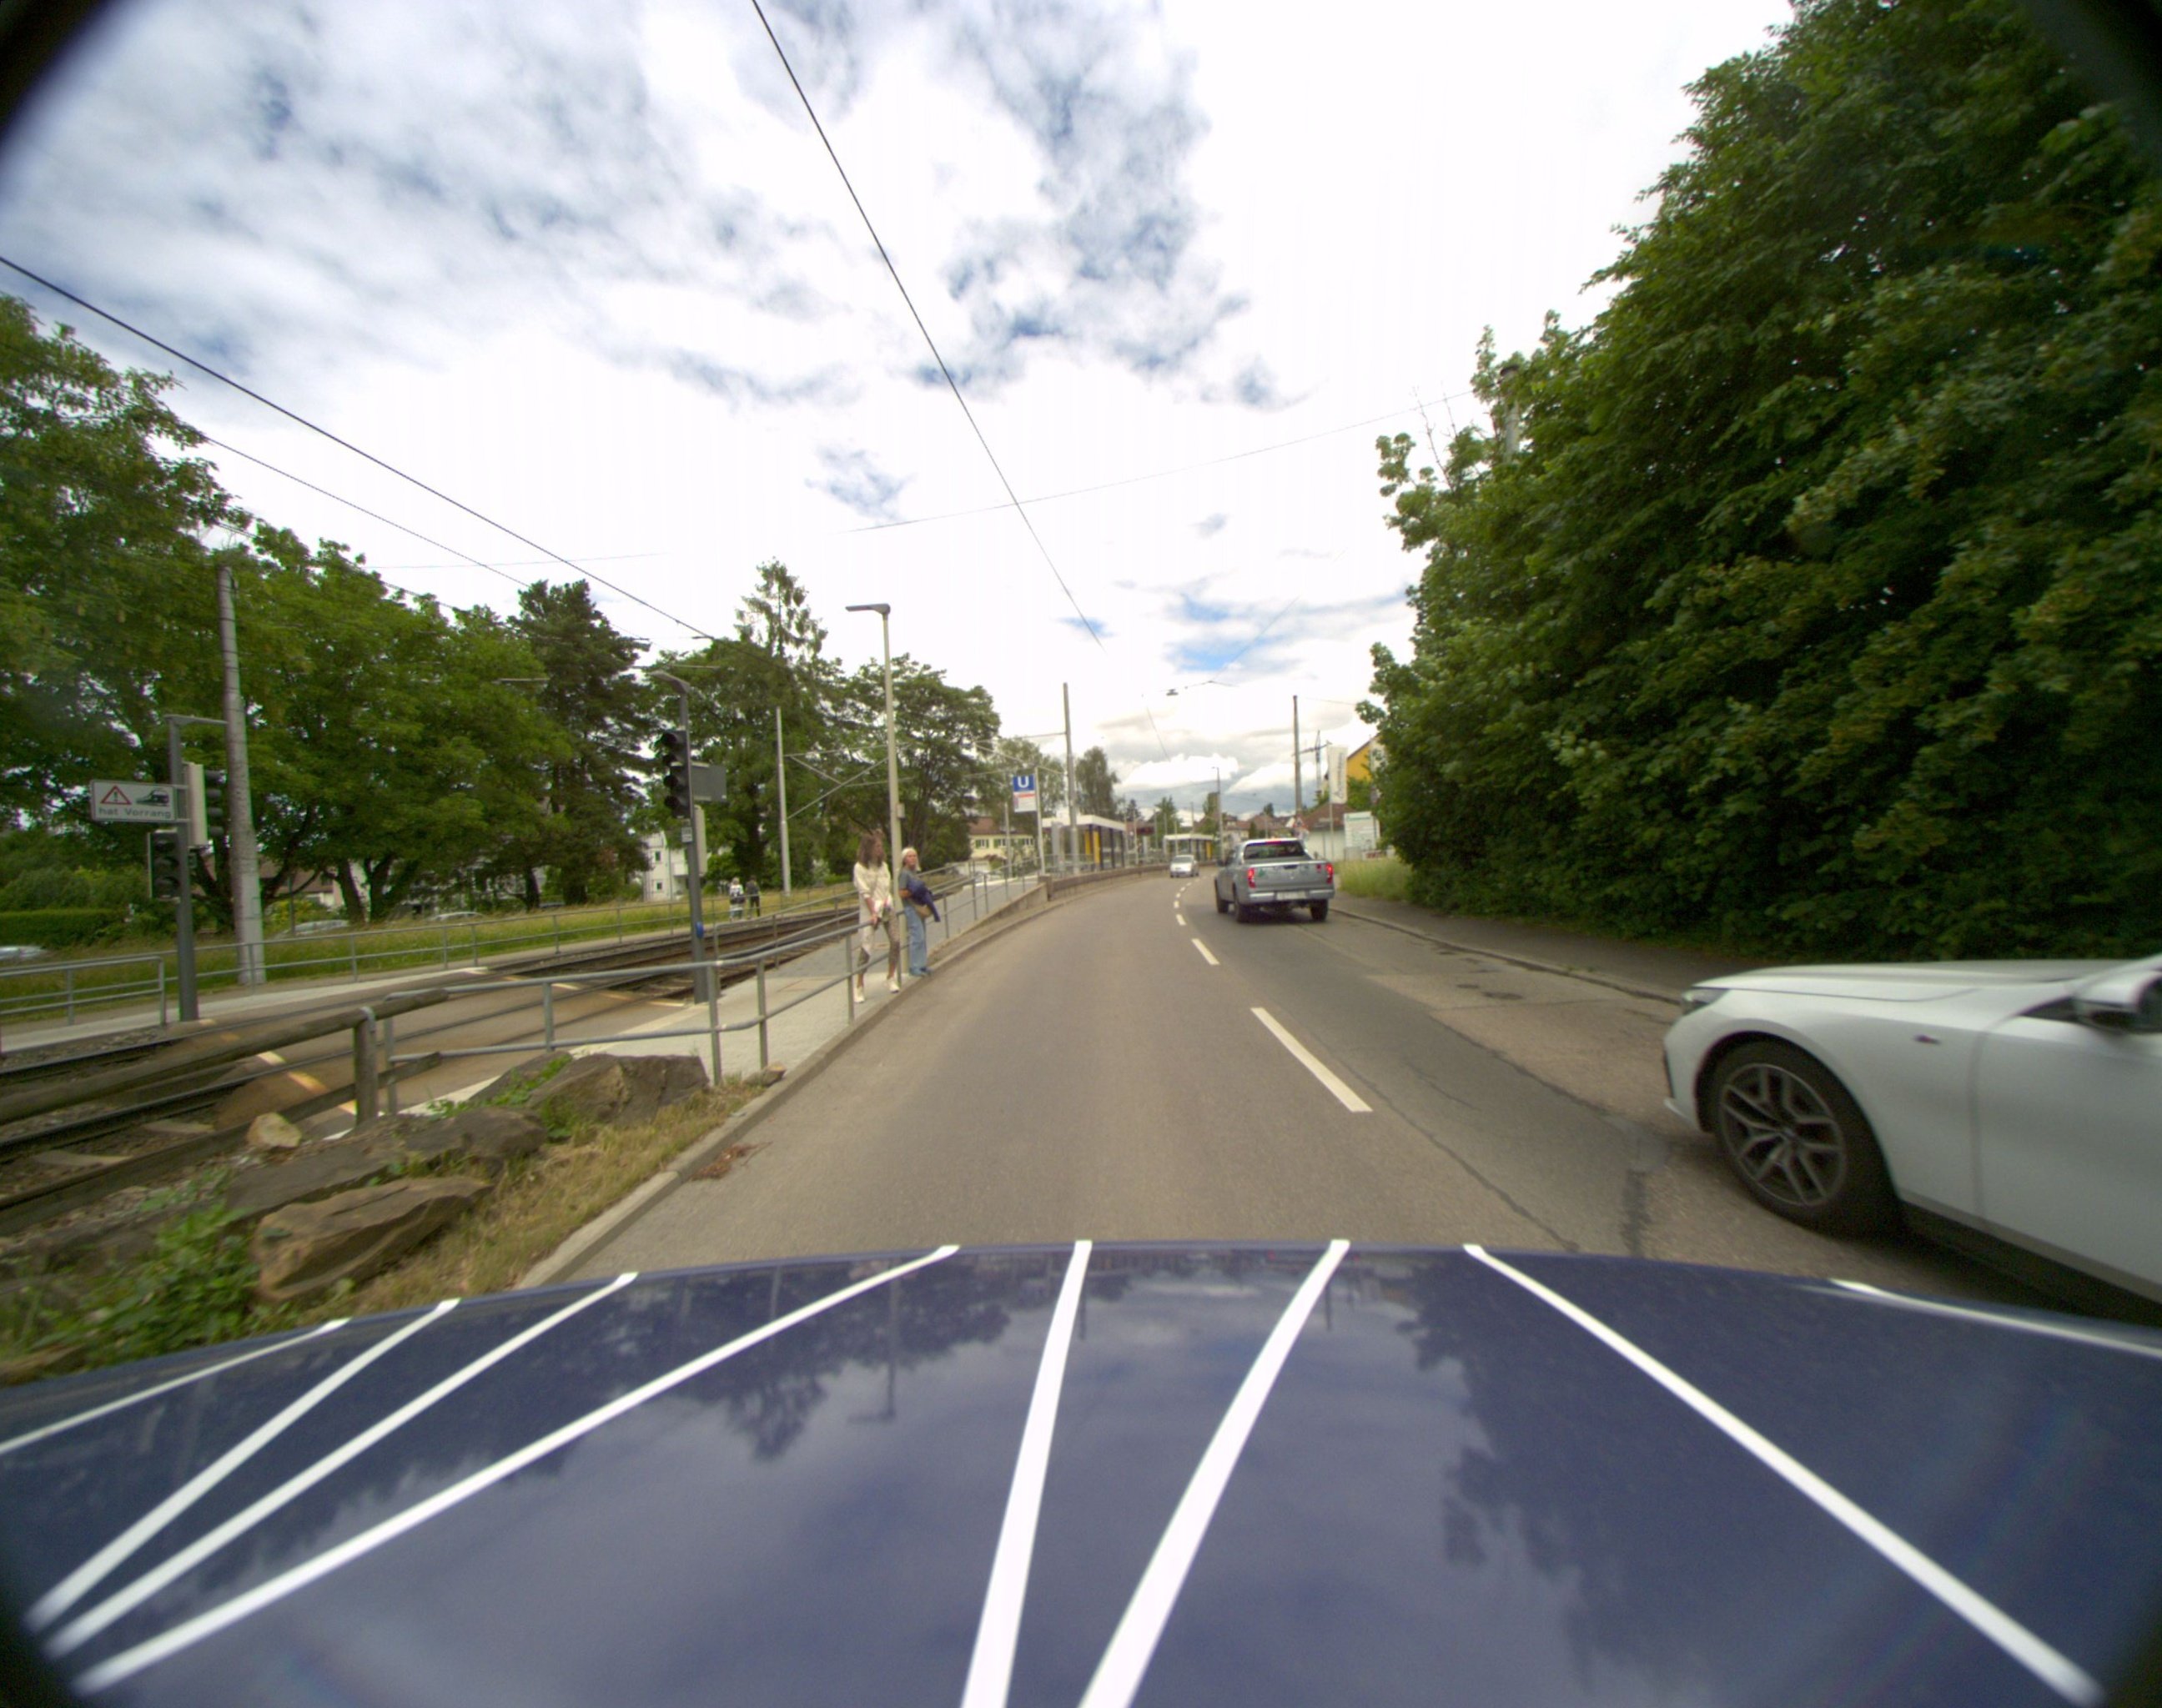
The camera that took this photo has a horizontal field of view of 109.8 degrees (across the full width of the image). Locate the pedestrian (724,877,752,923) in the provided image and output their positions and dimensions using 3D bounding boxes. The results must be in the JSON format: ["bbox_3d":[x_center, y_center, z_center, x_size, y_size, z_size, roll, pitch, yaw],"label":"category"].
[{"bbox_3d":[-12.001,1.609,26.594,0.493,1.552,0.693,-4,0,7],"label":"pedestrian"}]

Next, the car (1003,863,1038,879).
[{"bbox_3d":[-6.006,1.674,76.018,1.996,1.340,4.005,-4,0,17],"label":"car"}]

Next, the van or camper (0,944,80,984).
[{"bbox_3d":[-53.368,5.563,37.680,4.065,1.641,1.995,-4,0,-39],"label":"van or camper"}]

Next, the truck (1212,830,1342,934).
[{"bbox_3d":[4.286,0.539,17.436,1.852,1.954,4.959,-3,0,3],"label":"truck"}]

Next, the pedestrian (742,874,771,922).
[{"bbox_3d":[-11.397,1.533,26.676,0.493,1.613,0.791,-4,0,7],"label":"pedestrian"}]

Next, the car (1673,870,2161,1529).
[{"bbox_3d":[3.543,0.853,0.995,1.935,1.513,4.658,-1,0,0],"label":"car"}]

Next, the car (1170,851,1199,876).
[{"bbox_3d":[7.556,0.631,55.368,1.732,1.639,4.230,-4,0,11],"label":"car"}]

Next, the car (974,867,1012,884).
[{"bbox_3d":[-8.222,1.989,71.171,1.996,1.340,4.005,-4,0,17],"label":"car"}]

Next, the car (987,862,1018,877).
[{"bbox_3d":[-10.728,2.125,104.096,1.995,1.851,4.243,-4,0,31],"label":"car"}]

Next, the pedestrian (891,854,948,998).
[{"bbox_3d":[-2.064,0.876,9.673,0.476,1.719,0.799,-5,3,-20],"label":"pedestrian"}]

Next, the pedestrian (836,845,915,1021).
[{"bbox_3d":[-2.287,0.840,8.433,0.661,1.830,0.596,-5,3,-19],"label":"pedestrian"}]
